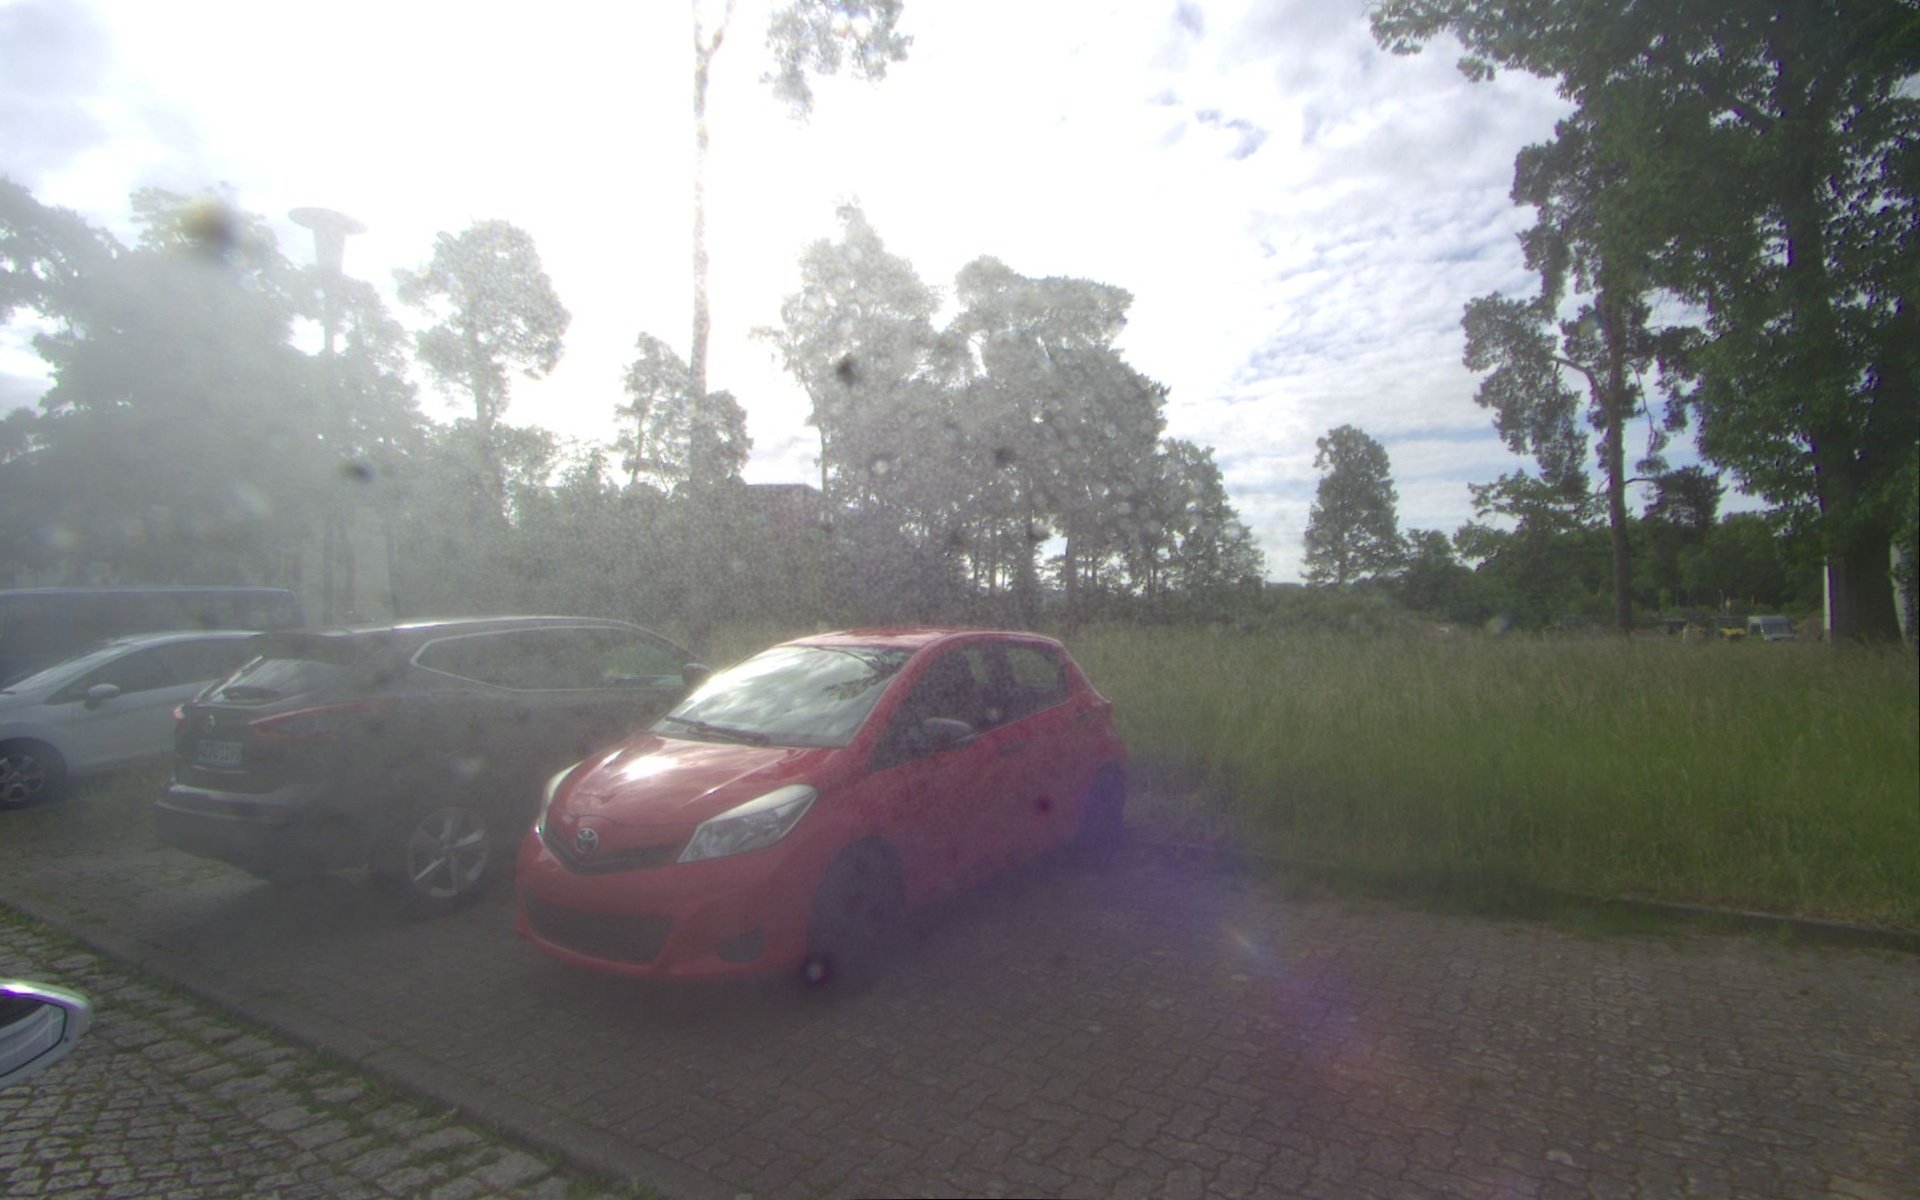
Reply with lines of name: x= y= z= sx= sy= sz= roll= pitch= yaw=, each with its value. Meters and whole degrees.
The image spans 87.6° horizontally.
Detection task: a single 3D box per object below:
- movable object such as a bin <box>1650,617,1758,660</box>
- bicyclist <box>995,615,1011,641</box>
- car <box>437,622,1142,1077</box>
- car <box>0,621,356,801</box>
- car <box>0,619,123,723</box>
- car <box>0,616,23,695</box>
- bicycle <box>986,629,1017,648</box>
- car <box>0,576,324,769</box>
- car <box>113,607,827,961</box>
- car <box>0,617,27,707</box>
movable object such as a bin: x=48.859 y=2.516 z=65.957 sx=2.134 sy=2.688 sz=5.978 roll=1 pitch=-2 yaw=-8
bicyclist: x=2.865 y=1.868 z=66.502 sx=0.762 sy=1.717 sz=0.724 roll=0 pitch=-1 yaw=33
car: x=-0.530 y=0.895 z=5.475 sx=1.726 sy=1.479 sz=3.784 roll=-1 pitch=0 yaw=32
car: x=-8.258 y=0.978 z=9.841 sx=1.590 sy=1.468 sz=3.667 roll=-1 pitch=0 yaw=30
car: x=-14.583 y=1.035 z=14.358 sx=1.501 sy=1.468 sz=3.666 roll=-1 pitch=0 yaw=30
car: x=-19.220 y=1.048 z=17.664 sx=1.501 sy=1.468 sz=3.666 roll=-1 pitch=0 yaw=30
bicycle: x=2.757 y=2.550 z=66.516 sx=1.904 sy=1.244 sz=0.722 roll=0 pitch=-1 yaw=32
car: x=-10.278 y=0.752 z=11.430 sx=1.903 sy=1.980 sz=4.747 roll=-1 pitch=0 yaw=30
car: x=-2.808 y=0.855 z=6.700 sx=1.725 sy=1.573 sz=4.023 roll=-1 pitch=0 yaw=30
car: x=-17.113 y=1.020 z=15.480 sx=1.501 sy=1.468 sz=3.666 roll=-1 pitch=0 yaw=30
